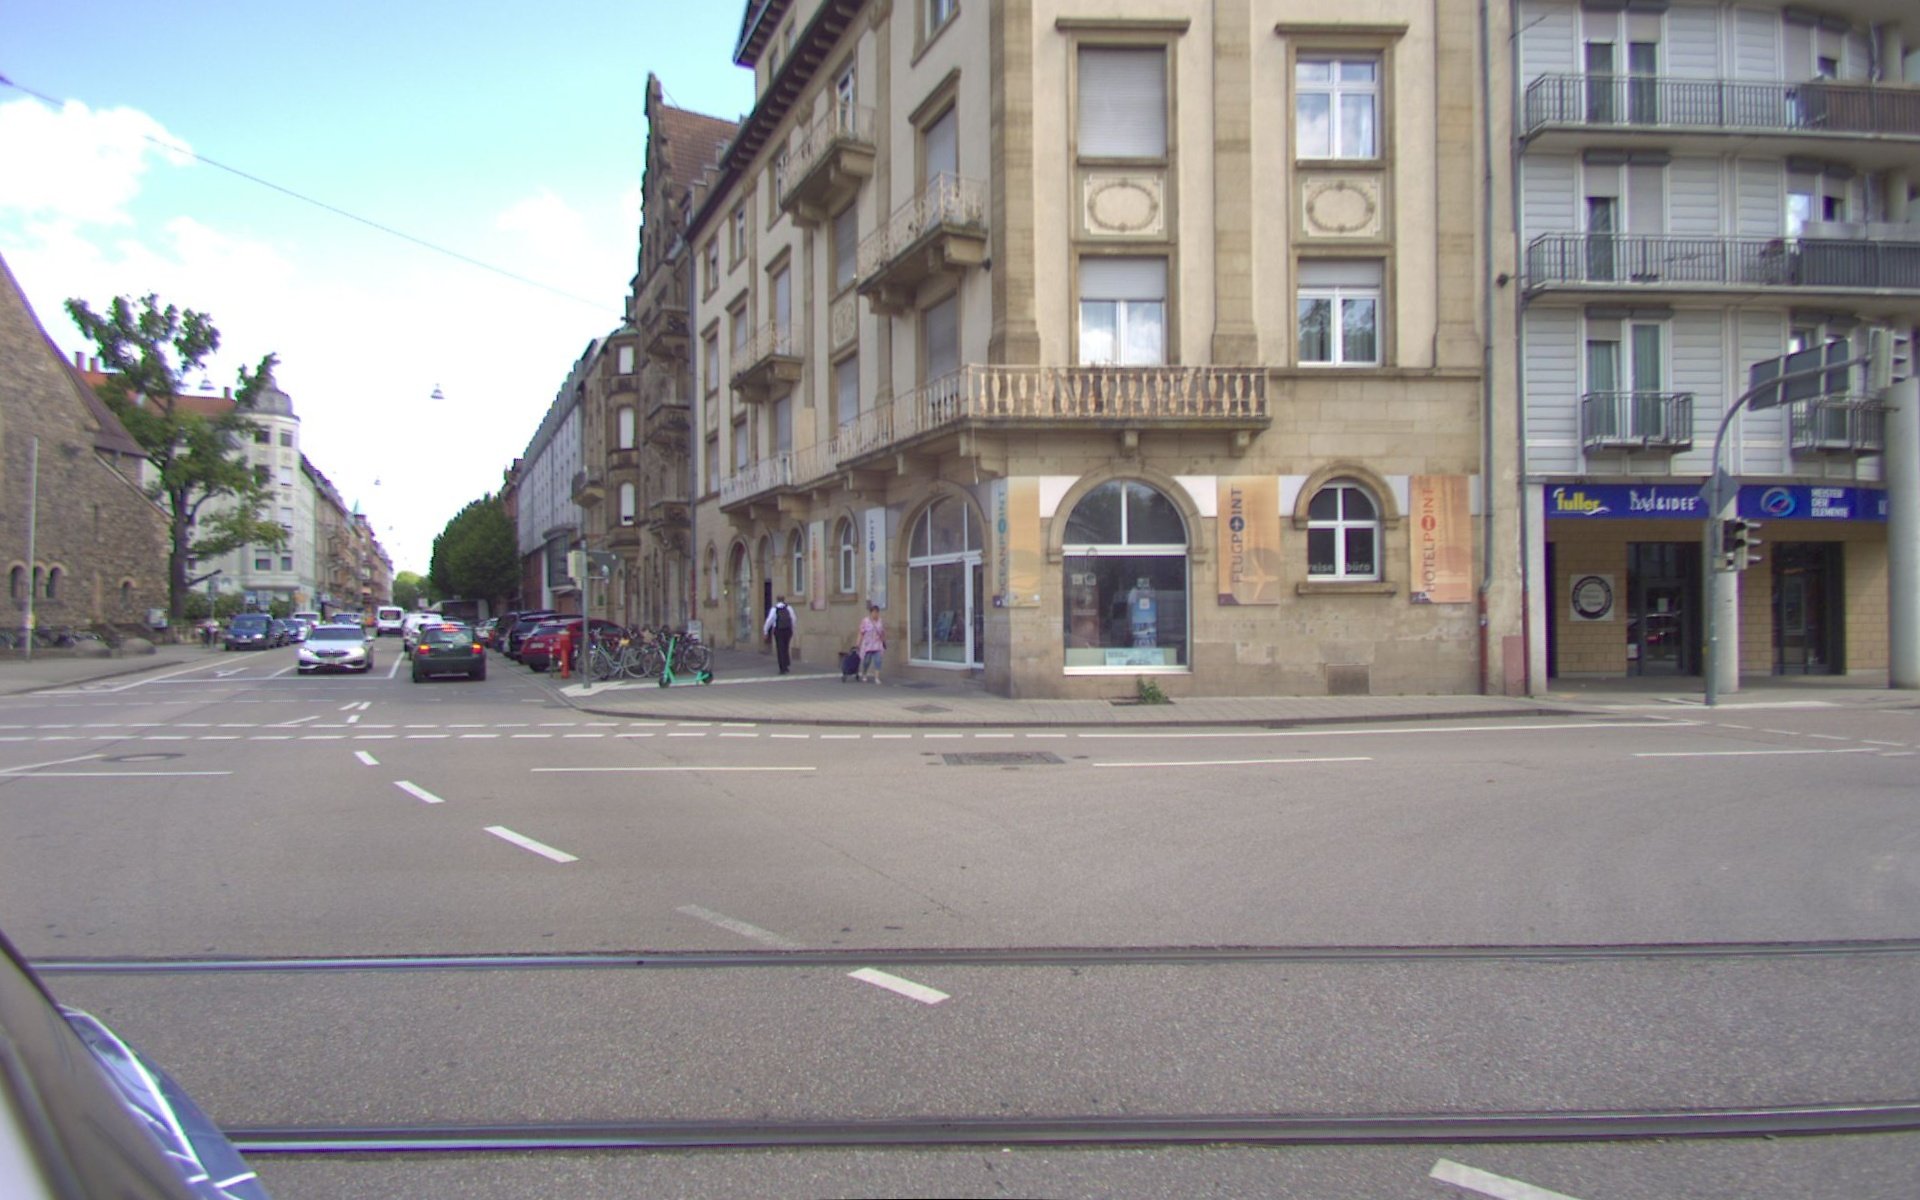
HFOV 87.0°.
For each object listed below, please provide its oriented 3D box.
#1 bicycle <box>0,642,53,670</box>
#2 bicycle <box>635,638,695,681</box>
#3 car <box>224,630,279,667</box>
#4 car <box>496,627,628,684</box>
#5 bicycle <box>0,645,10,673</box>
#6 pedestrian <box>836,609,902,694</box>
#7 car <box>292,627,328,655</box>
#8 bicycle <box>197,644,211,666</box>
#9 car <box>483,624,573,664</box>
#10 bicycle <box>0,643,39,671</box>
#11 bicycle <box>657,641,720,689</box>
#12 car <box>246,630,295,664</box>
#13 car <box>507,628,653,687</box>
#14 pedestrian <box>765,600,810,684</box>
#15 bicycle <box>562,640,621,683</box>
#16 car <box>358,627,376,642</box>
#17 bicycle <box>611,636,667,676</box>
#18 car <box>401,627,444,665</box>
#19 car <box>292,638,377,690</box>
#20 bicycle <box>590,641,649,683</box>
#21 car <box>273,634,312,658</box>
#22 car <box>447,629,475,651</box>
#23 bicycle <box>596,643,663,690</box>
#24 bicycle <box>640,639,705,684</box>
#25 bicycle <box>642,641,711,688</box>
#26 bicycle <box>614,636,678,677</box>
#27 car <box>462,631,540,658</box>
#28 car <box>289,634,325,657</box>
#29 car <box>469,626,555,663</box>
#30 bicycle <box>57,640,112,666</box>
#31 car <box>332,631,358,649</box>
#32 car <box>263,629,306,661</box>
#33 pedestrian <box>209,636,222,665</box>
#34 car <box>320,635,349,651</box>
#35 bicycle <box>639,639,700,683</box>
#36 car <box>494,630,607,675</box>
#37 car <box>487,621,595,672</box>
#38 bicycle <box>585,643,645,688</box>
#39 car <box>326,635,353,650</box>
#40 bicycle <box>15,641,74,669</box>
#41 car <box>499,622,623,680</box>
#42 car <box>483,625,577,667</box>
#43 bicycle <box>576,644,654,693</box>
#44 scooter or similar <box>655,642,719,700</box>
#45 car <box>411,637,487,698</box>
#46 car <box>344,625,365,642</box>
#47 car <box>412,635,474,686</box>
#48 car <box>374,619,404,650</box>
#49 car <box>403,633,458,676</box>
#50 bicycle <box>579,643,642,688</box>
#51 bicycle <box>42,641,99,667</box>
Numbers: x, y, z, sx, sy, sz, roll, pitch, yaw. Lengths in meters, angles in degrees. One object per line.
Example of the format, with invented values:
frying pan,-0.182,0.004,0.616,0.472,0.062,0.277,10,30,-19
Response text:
bicycle,-40.617,2.421,43.855,1.909,1.120,0.587,3,-1,-6
bicycle,-8.017,1.606,27.523,1.459,1.060,0.464,-2,-1,-30
car,-35.627,2.403,51.001,1.655,1.805,4.158,0,-2,-27
car,-12.800,1.757,32.781,1.719,1.468,3.927,-4,0,21
bicycle,-40.357,2.382,41.573,1.909,1.120,0.587,3,-1,-6
pedestrian,-1.853,1.029,20.499,0.928,1.607,0.999,-4,0,-27
car,-47.472,2.985,73.975,1.813,1.953,4.200,0,-2,-27
bicycle,-38.842,2.819,52.010,0.472,1.060,1.447,1,-2,-33
car,-21.207,2.133,49.828,1.720,1.597,3.925,-3,1,23
bicycle,-40.552,2.409,43.140,1.909,1.120,0.587,3,-1,-6
bicycle,-6.558,1.569,24.418,1.418,1.060,0.482,-2,-1,-18
car,-37.914,2.567,55.732,1.655,1.805,4.013,0,-2,-27
car,-11.328,1.681,30.432,1.802,1.468,3.967,-3,0,24
pedestrian,-4.017,0.961,23.509,0.791,1.874,0.908,-1,1,-28
bicycle,-10.202,1.683,28.051,0.553,1.060,1.803,-3,-1,16
car,-82.526,4.802,140.876,1.779,1.927,4.200,0,-2,-27
bicycle,-9.564,1.650,30.222,0.553,1.060,1.893,-3,-1,18
car,-26.525,2.260,49.939,1.786,1.789,4.297,1,-3,-28
car,-19.224,1.922,31.277,1.796,1.459,4.400,2,-3,-26
bicycle,-9.265,1.675,27.553,1.459,1.060,0.464,-1,-1,-31
car,-43.108,2.951,65.444,1.655,1.458,3.810,0,-2,-27
car,-37.722,3.001,76.510,1.860,1.577,3.903,0,-2,-27
bicycle,-8.304,1.654,25.422,1.555,1.060,0.482,-2,-1,-20
bicycle,-7.470,1.589,26.326,1.555,1.060,0.482,-2,-1,-20
bicycle,-7.103,1.598,25.355,1.586,1.060,0.482,-2,-1,-20
bicycle,-8.836,1.583,28.470,1.604,1.060,0.559,-2,-1,-29
car,-25.970,2.498,57.384,1.720,1.485,3.924,-1,-2,23
car,-45.321,3.151,70.288,1.655,1.508,3.903,0,-2,-27
car,-23.164,2.289,52.511,1.720,1.597,3.924,-4,0,23
bicycle,-40.825,2.480,47.208,1.909,1.120,0.587,3,-1,-6
car,-60.350,3.933,99.341,1.779,1.698,4.200,0,-2,-27
car,-40.890,2.693,61.305,1.655,1.805,4.013,0,-2,-27
pedestrian,-38.399,2.583,52.211,0.458,1.466,0.558,1,-2,-32
car,-55.927,3.795,90.543,1.779,1.378,4.200,0,-2,-27
bicycle,-7.736,1.617,26.969,1.459,1.060,0.464,-2,-1,-27
car,-15.814,2.015,39.245,1.721,1.440,3.922,-4,-1,24
car,-17.363,1.909,42.096,1.723,1.882,3.916,-2,0,28
bicycle,-8.844,1.670,25.946,1.349,1.060,0.419,-3,-1,-29
car,-58.409,4.005,95.352,1.779,1.378,4.200,0,-2,-27
bicycle,-40.568,2.439,44.859,1.909,1.120,0.587,3,-1,-6
car,-14.000,1.757,35.731,1.791,1.702,3.924,-4,-1,23
car,-20.003,2.110,47.259,1.720,1.597,3.924,-3,1,23
bicycle,-8.354,1.650,24.581,1.708,1.060,0.532,-2,-1,-11
scooter or similar,-5.846,1.517,21.714,1.233,1.155,0.482,-2,0,-10
car,-13.694,1.742,27.086,1.689,1.444,3.830,1,-2,-28
car,-68.817,3.797,115.042,1.779,1.779,4.200,0,-2,-27
car,-17.240,1.955,33.683,1.722,1.552,3.944,1,-2,-29
car,-48.264,2.955,85.604,2.047,2.464,5.963,2,-4,-28
car,-21.400,2.145,40.822,1.746,1.594,4.032,0,-2,-31
bicycle,-9.093,1.684,26.337,1.459,1.060,0.464,-2,-1,-27
bicycle,-40.782,2.466,46.404,1.909,1.120,0.587,3,-1,-6
